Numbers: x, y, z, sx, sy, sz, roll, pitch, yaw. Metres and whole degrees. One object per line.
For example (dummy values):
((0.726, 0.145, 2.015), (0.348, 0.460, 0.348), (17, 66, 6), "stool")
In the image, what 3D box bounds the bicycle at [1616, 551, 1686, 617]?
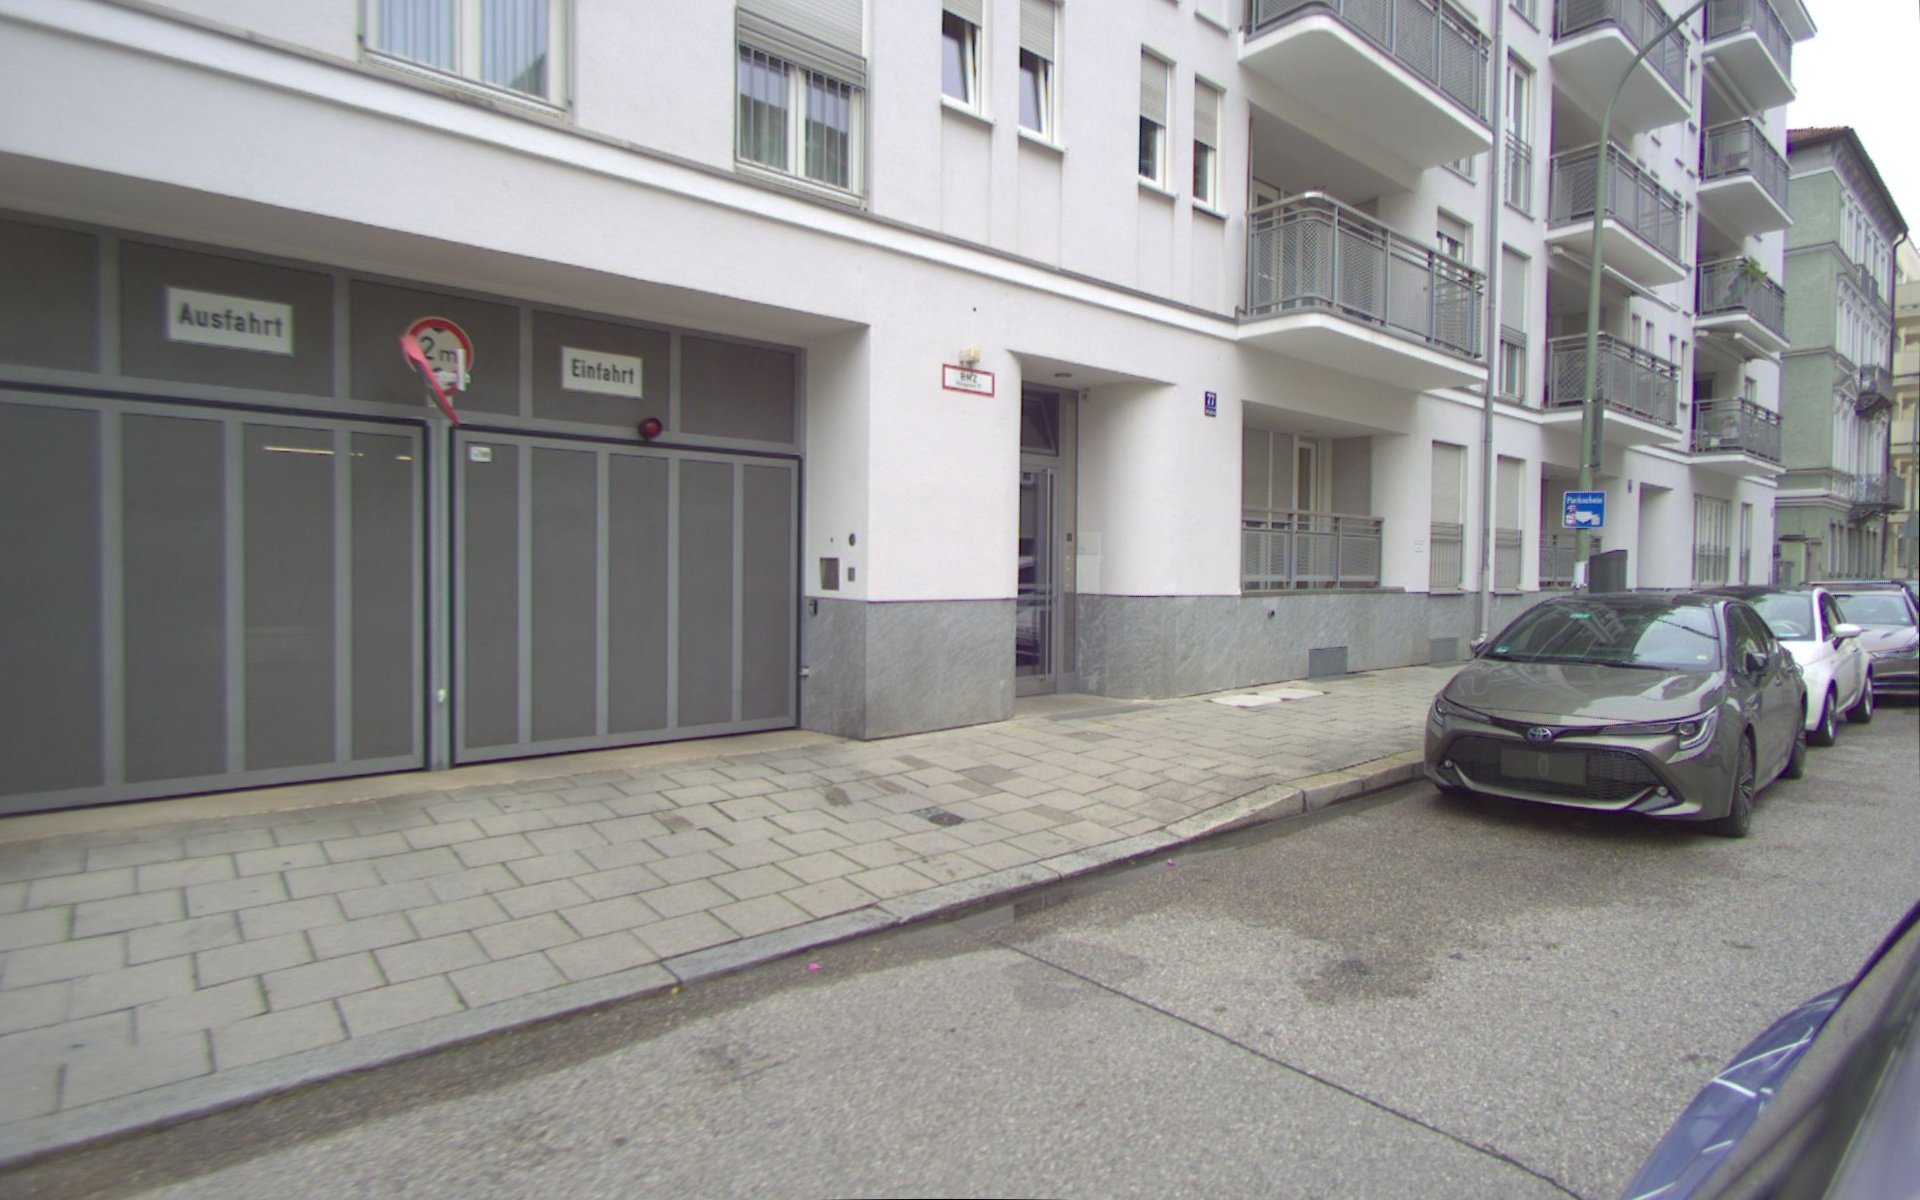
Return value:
((12.966, -0.329, 18.962), (2.092, 1.174, 0.628), (-2, 4, -43), "bicycle")

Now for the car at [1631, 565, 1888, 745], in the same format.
((8.332, 0.449, 10.448), (3.466, 1.549, 1.521), (-1, 1, -42), "car")

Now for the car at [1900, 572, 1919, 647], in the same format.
((21.037, 0.140, 21.184), (4.136, 1.458, 1.660), (-2, 1, -42), "car")

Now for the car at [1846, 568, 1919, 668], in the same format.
((16.650, 0.244, 17.457), (3.917, 1.549, 1.605), (-2, 1, -42), "car")

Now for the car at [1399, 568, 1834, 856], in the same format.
((4.899, 0.524, 7.313), (4.012, 1.425, 1.765), (-3, 4, -44), "car")

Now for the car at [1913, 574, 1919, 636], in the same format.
((24.444, 0.057, 24.603), (3.495, 1.430, 1.620), (-3, 1, -43), "car")

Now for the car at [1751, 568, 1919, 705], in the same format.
((12.286, 0.370, 13.701), (4.544, 1.549, 1.736), (-2, 1, -42), "car")
